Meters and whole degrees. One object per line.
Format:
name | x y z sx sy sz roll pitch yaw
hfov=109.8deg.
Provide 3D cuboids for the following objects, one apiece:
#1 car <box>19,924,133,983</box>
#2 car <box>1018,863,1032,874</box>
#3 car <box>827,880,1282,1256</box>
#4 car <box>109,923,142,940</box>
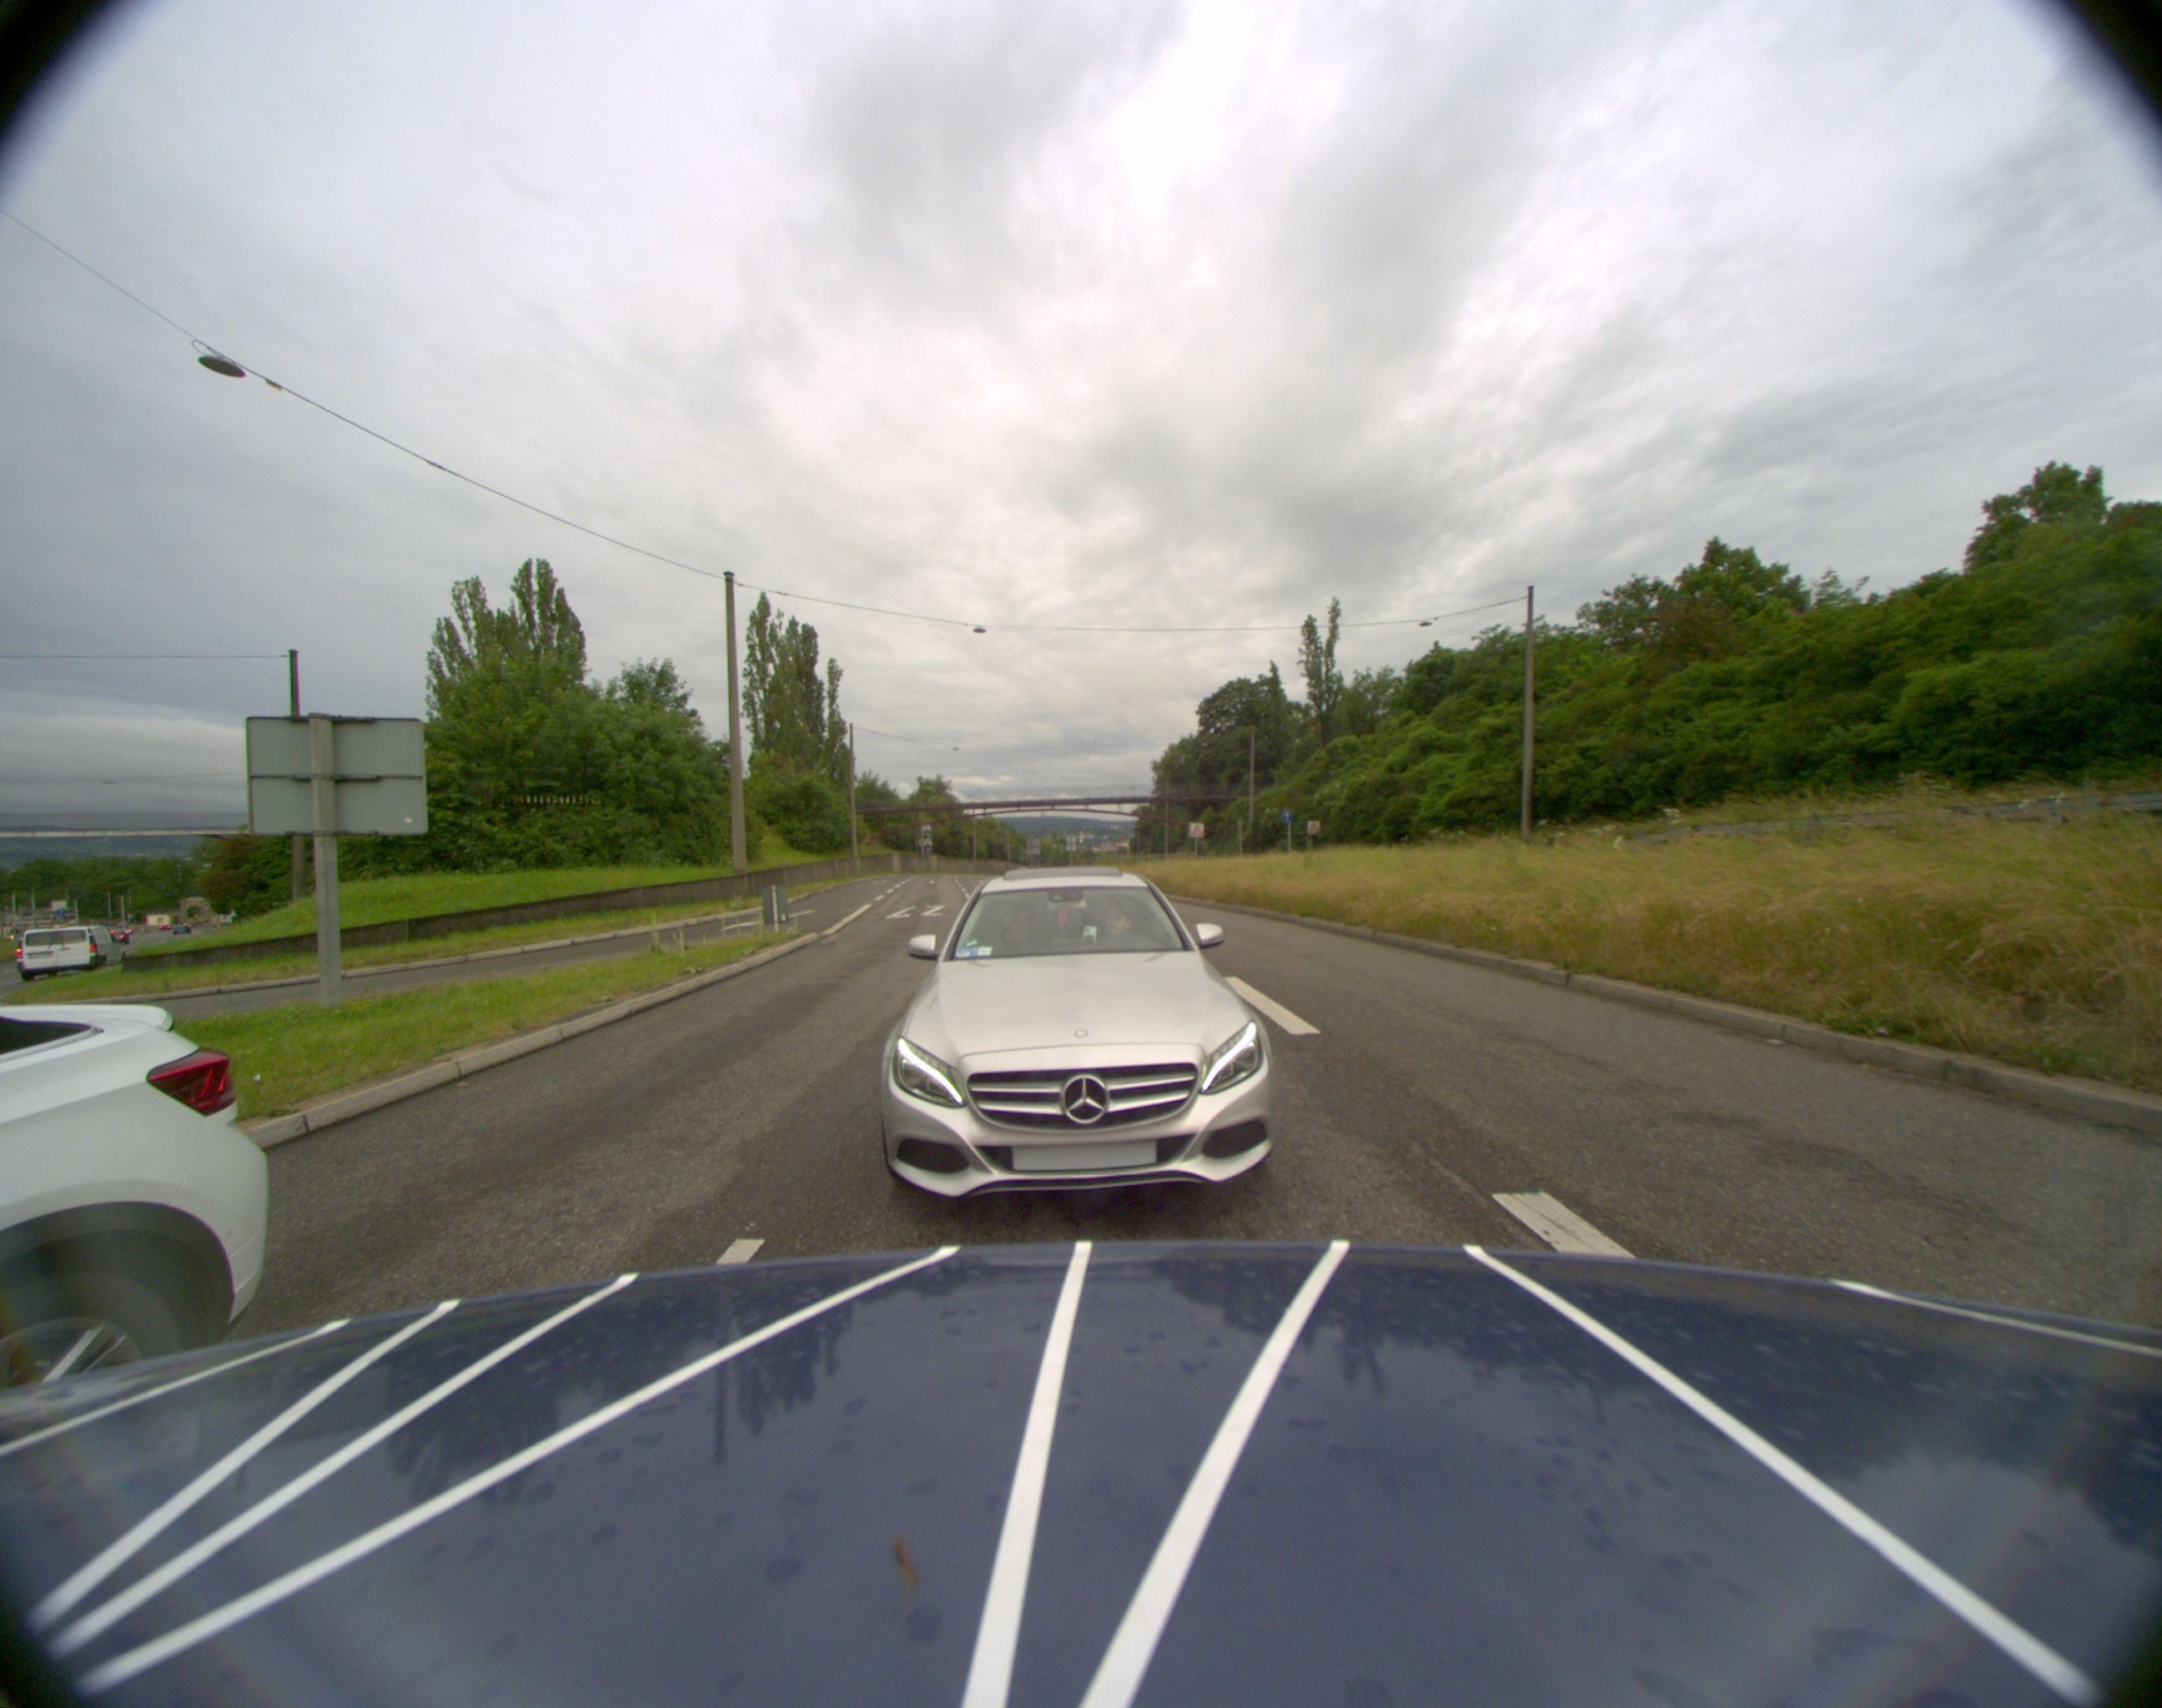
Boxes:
car | -38.446 3.726 29.195 4.811 1.837 2.003 -4 0 44
car | -9.577 2.468 129.543 1.911 1.668 4.000 -5 0 1
car | -0.054 0.990 5.293 1.894 1.361 4.134 -1 1 2
car | -92.669 7.503 73.740 4.071 1.412 1.689 -3 0 42
